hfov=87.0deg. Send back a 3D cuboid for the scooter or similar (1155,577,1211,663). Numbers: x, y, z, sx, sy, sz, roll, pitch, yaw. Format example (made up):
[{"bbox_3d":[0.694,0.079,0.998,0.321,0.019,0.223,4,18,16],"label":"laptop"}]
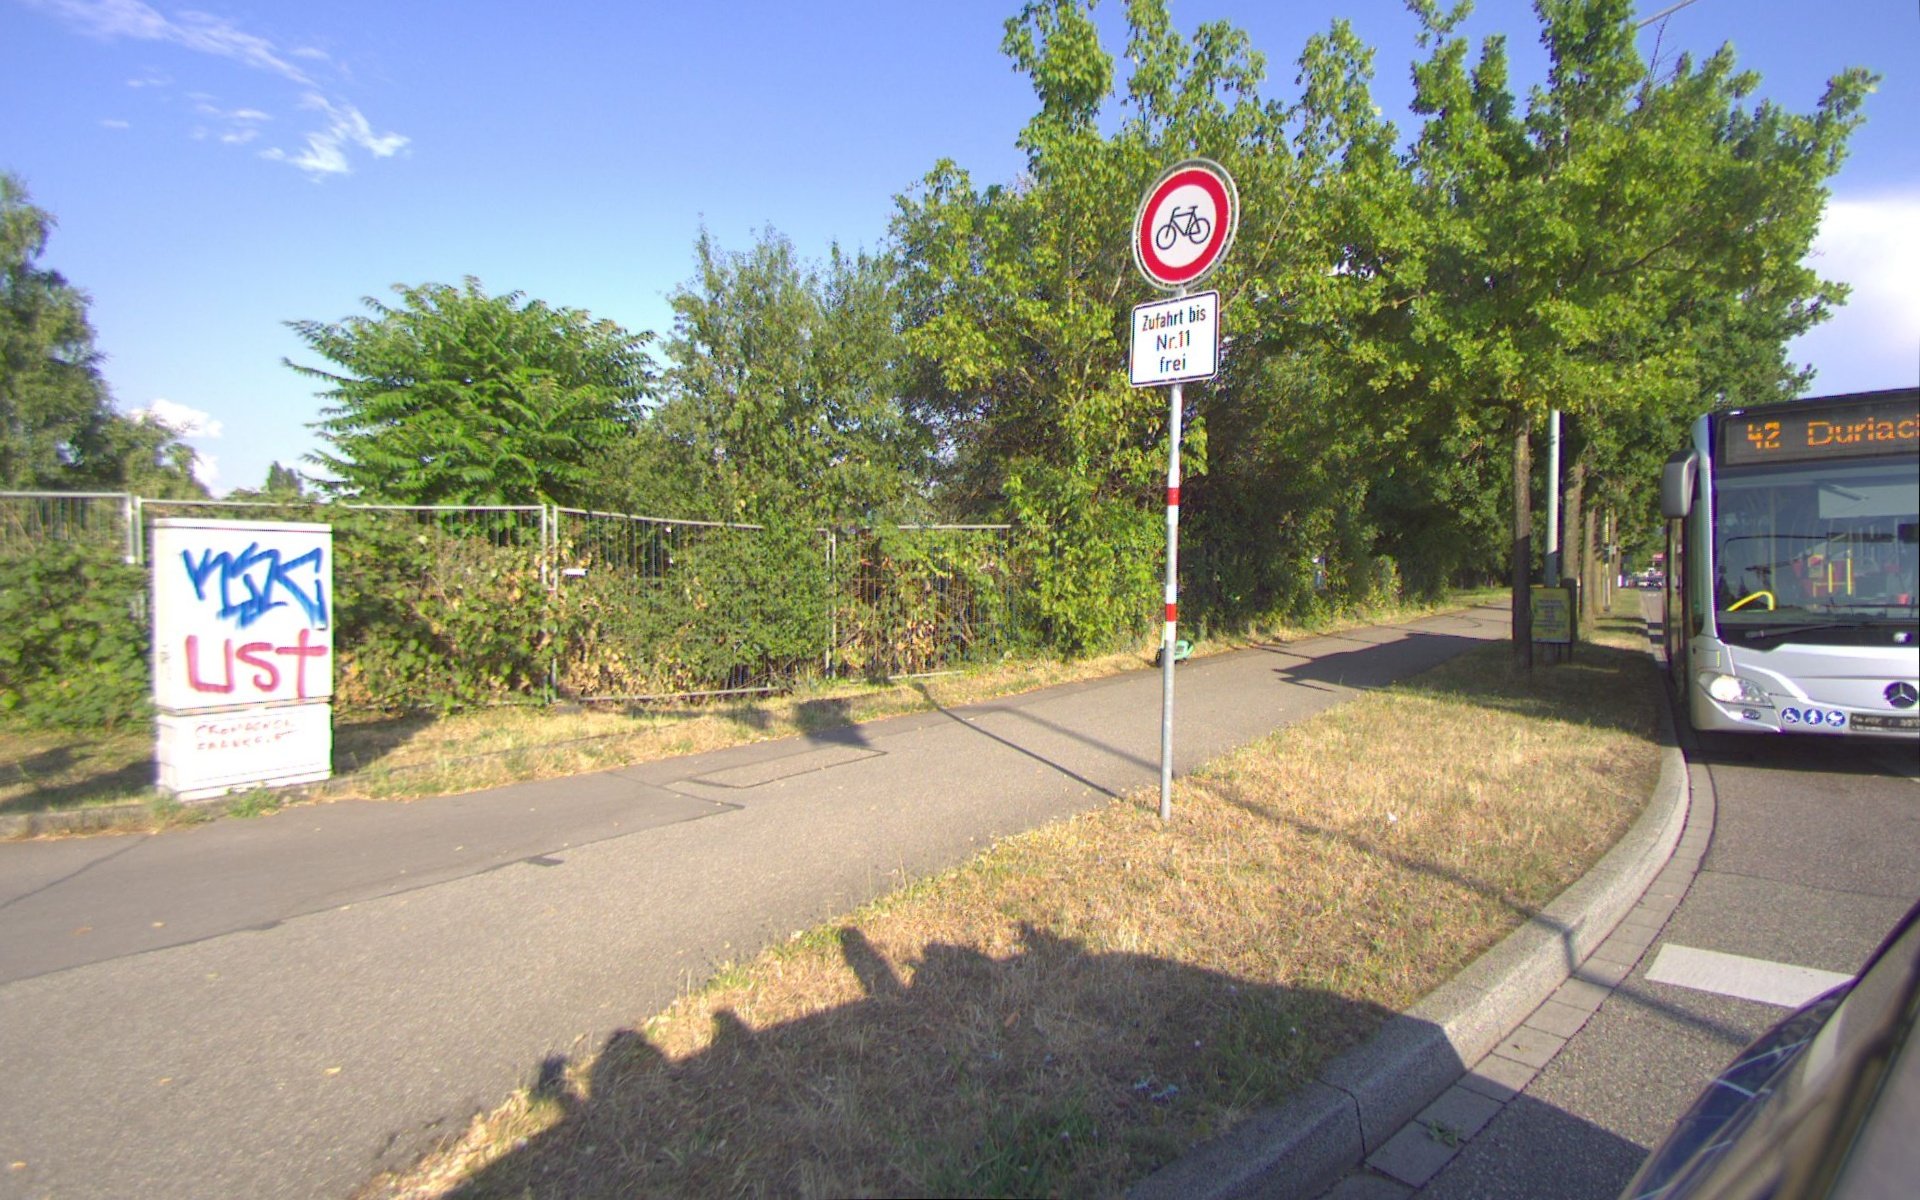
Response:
[{"bbox_3d":[3.098,0.258,14.033,0.248,1.140,1.080,5,4,38],"label":"scooter or similar"}]

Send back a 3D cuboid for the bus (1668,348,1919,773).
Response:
[{"bbox_3d":[10.214,-0.387,12.115,2.579,3.081,11.579,0,1,34],"label":"bus"}]
